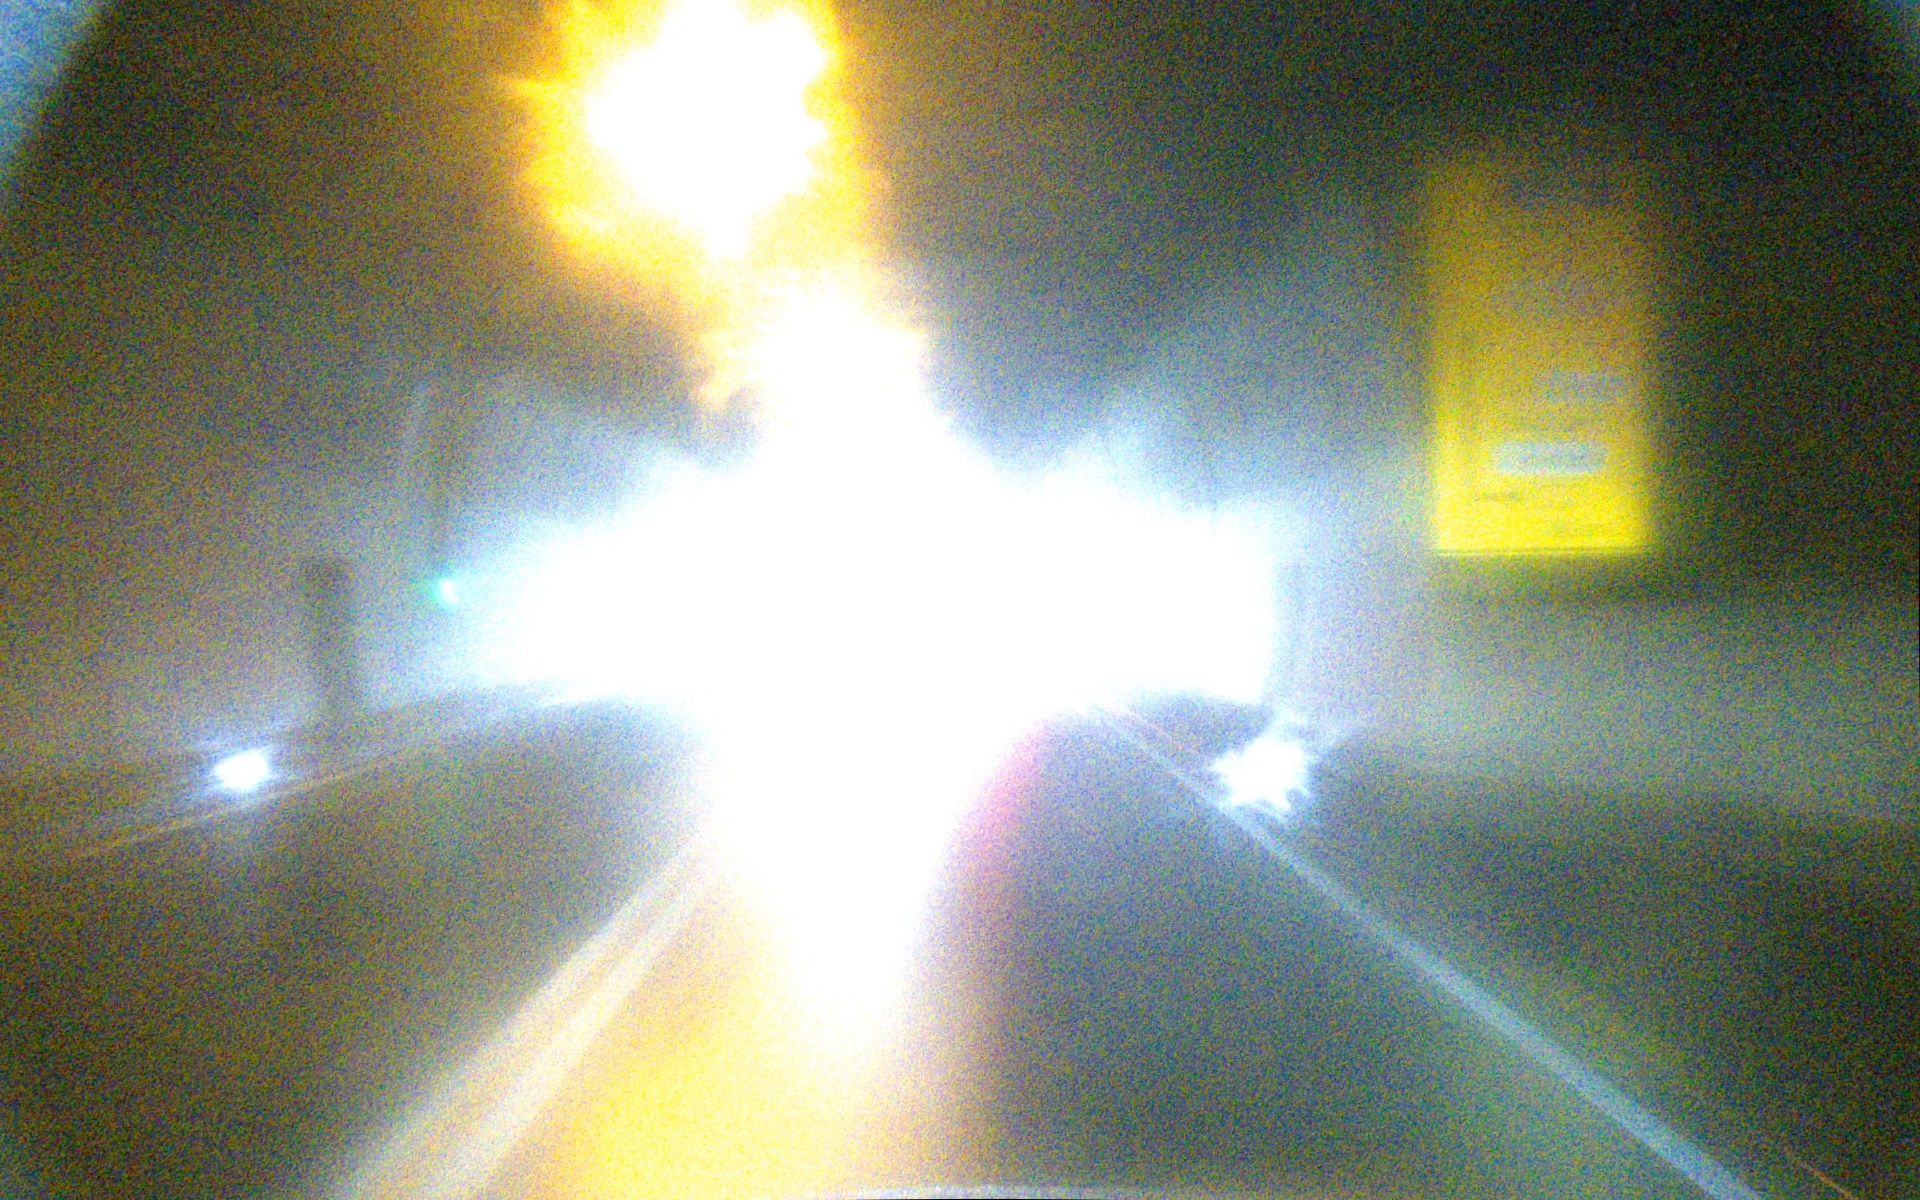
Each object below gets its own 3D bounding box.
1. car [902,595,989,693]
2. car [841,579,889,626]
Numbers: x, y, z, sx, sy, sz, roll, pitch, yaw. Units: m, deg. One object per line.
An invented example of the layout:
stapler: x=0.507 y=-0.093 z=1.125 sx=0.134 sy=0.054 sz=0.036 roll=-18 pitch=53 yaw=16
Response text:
car: x=-0.287 y=0.823 z=33.138 sx=1.602 sy=1.788 sz=4.145 roll=-1 pitch=0 yaw=0
car: x=-4.045 y=0.093 z=71.287 sx=1.803 sy=1.933 sz=4.608 roll=-1 pitch=0 yaw=0
